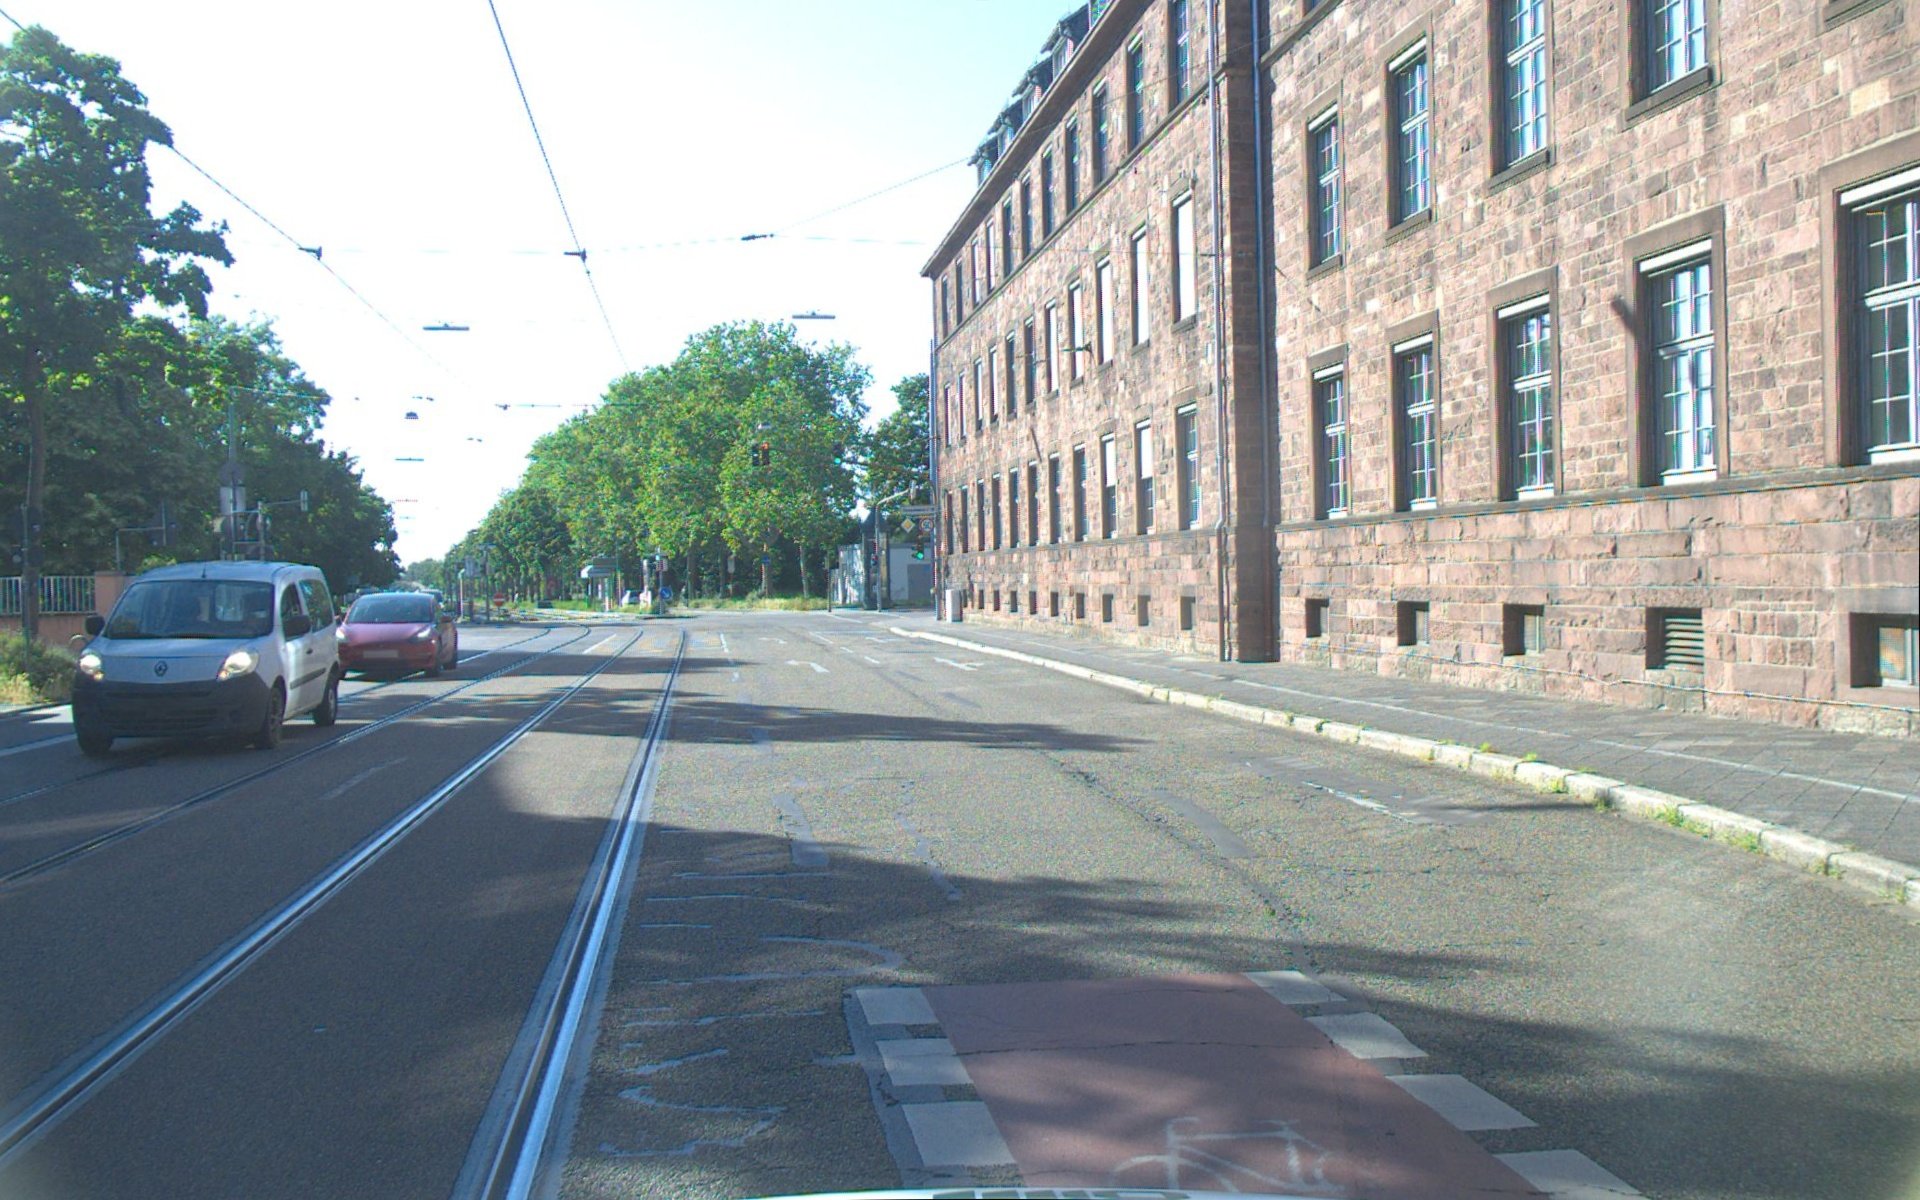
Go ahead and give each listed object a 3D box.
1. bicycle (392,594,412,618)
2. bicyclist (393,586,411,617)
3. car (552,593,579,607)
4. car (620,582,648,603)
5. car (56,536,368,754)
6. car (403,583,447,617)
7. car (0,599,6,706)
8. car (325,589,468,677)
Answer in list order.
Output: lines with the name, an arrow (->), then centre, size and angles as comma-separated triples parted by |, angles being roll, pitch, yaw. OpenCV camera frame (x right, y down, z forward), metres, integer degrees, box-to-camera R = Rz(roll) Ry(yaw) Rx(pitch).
bicycle -> -27.300, 0.285, 80.877 | 0.739, 1.106, 2.161 | -1, 1, -24
bicyclist -> -27.302, 0.067, 80.877 | 0.739, 1.530, 0.957 | -1, 1, -24
car -> -45.485, -0.016, 190.589 | 1.922, 1.638, 3.960 | -2, 1, -29
car -> -25.859, -0.608, 131.200 | 1.910, 1.638, 3.985 | -1, 1, -14
car -> -7.530, 0.372, 17.145 | 1.776, 1.921, 4.431 | -1, 1, -9
car -> -29.381, -0.023, 90.727 | 1.966, 1.791, 3.973 | -1, 1, -22
car -> -13.978, 0.745, 21.664 | 1.554, 1.514, 3.600 | 1, 0, -13
car -> -10.090, 0.536, 29.916 | 1.887, 1.411, 4.672 | -1, 1, -12
